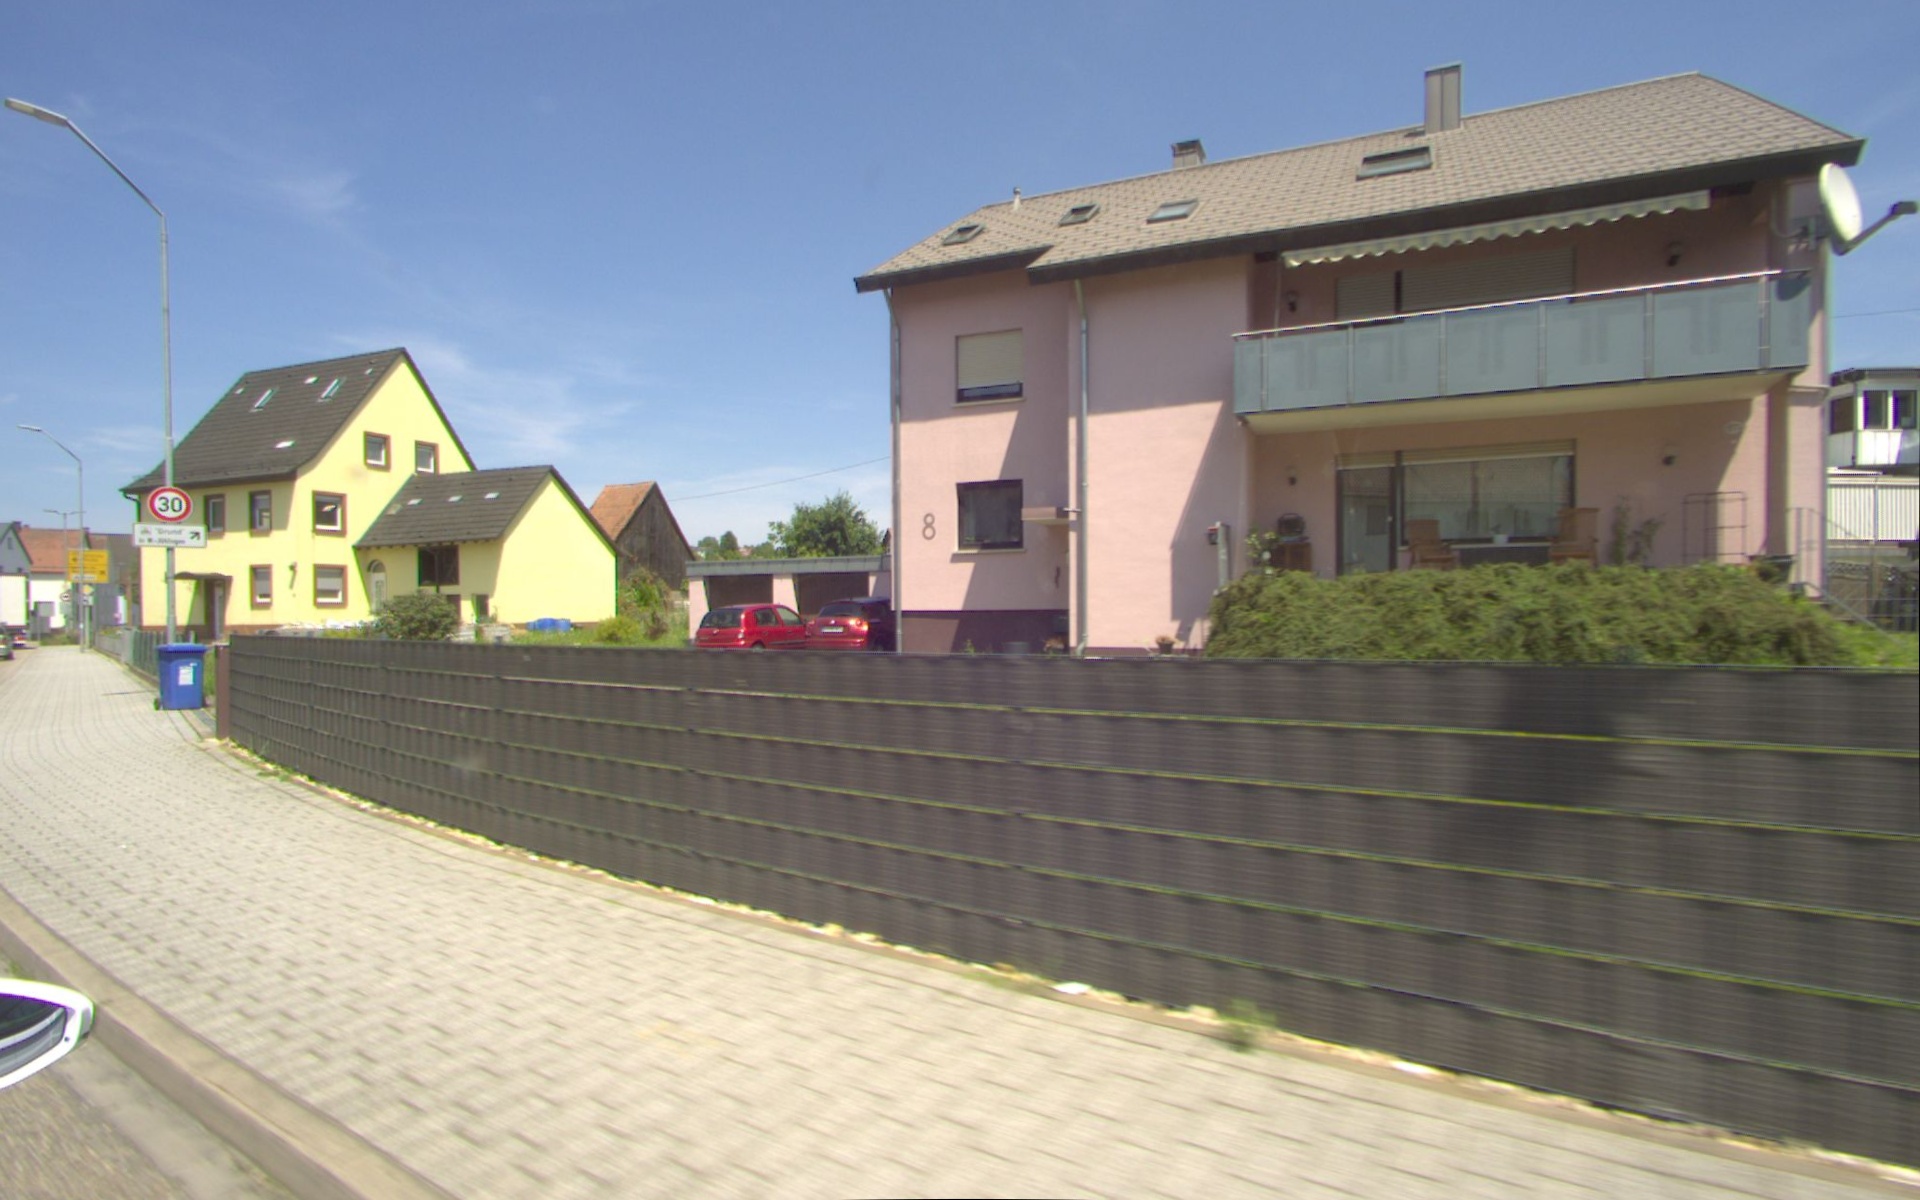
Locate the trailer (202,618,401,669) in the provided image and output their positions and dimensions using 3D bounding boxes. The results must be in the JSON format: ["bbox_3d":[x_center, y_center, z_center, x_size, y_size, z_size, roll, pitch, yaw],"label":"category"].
[{"bbox_3d":[-21.596,1.410,33.177,2.101,1.566,5.355,-1,-2,20],"label":"trailer"}]

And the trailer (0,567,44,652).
[{"bbox_3d":[-53.694,0.619,54.686,12.333,4.332,3.122,-1,-1,37],"label":"trailer"}]

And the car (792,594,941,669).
[{"bbox_3d":[-2.065,0.724,23.403,1.819,1.567,4.117,-1,-1,21],"label":"car"}]

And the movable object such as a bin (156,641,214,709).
[{"bbox_3d":[-12.714,1.214,16.425,0.642,1.071,0.563,-1,0,33],"label":"movable object such as a bin"}]

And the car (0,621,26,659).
[{"bbox_3d":[-39.265,1.605,40.412,3.953,1.505,1.834,-1,-1,40],"label":"car"}]

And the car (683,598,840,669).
[{"bbox_3d":[-4.605,0.735,23.778,1.733,1.506,3.824,-1,0,25],"label":"car"}]
